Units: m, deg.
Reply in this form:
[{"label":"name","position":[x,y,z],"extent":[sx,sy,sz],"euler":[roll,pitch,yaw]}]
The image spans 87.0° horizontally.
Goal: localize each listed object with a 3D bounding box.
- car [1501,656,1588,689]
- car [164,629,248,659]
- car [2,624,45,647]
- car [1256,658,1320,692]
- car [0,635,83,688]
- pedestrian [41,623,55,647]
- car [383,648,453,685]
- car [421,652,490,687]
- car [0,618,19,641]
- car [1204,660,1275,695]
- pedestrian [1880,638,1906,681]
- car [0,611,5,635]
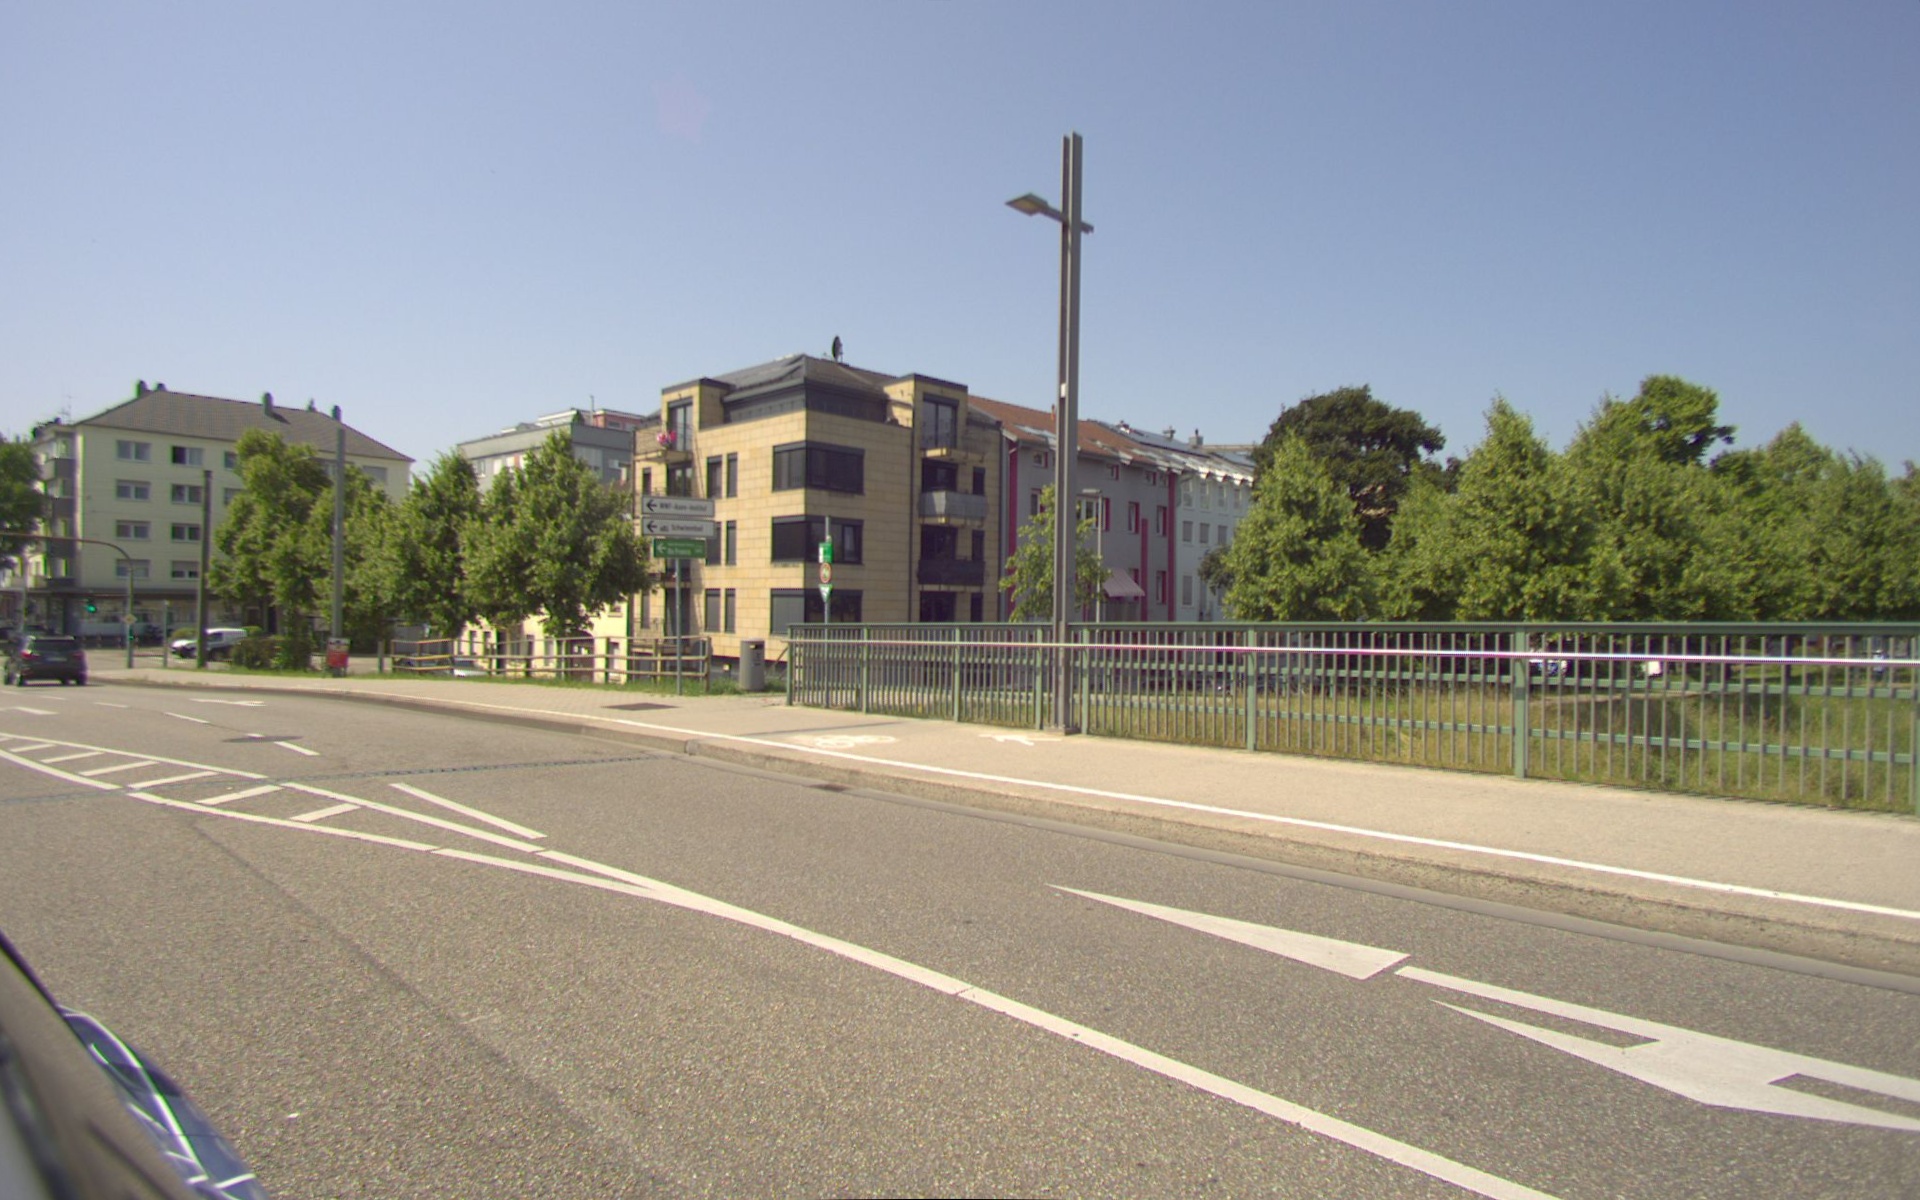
[{"label":"car","position":[33.206,4.079,57.513],"extent":[3.998,1.662,1.972],"euler":[-1,-3,41]},{"label":"car","position":[-45.920,2.694,61.655],"extent":[1.890,1.748,3.653],"euler":[1,-2,35]},{"label":"car","position":[-65.530,2.437,70.784],"extent":[3.933,1.469,1.568],"euler":[1,0,37]},{"label":"car","position":[18.566,4.206,57.187],"extent":[2.000,1.662,3.943],"euler":[-1,-1,43]},{"label":"car","position":[-30.987,2.041,33.999],"extent":[3.919,1.653,1.719],"euler":[-1,-4,41]},{"label":"pedestrian","position":[-65.771,2.519,72.991],"extent":[0.741,1.773,0.621],"euler":[0,-1,37]},{"label":"car","position":[-29.106,3.545,54.247],"extent":[5.289,1.640,1.794],"euler":[1,-2,45]},{"label":"car","position":[-25.123,3.423,50.311],"extent":[4.431,1.443,1.756],"euler":[-1,0,45]},{"label":"car","position":[-71.894,2.164,75.533],"extent":[4.832,1.581,1.607],"euler":[1,0,37]},{"label":"car","position":[14.711,4.042,53.196],"extent":[2.000,1.662,3.943],"euler":[-1,-3,43]},{"label":"pedestrian","position":[45.060,2.865,48.907],"extent":[0.883,2.029,0.716],"euler":[1,1,41]},{"label":"car","position":[-76.399,1.779,79.320],"extent":[3.853,1.853,1.624],"euler":[0,0,37]}]
